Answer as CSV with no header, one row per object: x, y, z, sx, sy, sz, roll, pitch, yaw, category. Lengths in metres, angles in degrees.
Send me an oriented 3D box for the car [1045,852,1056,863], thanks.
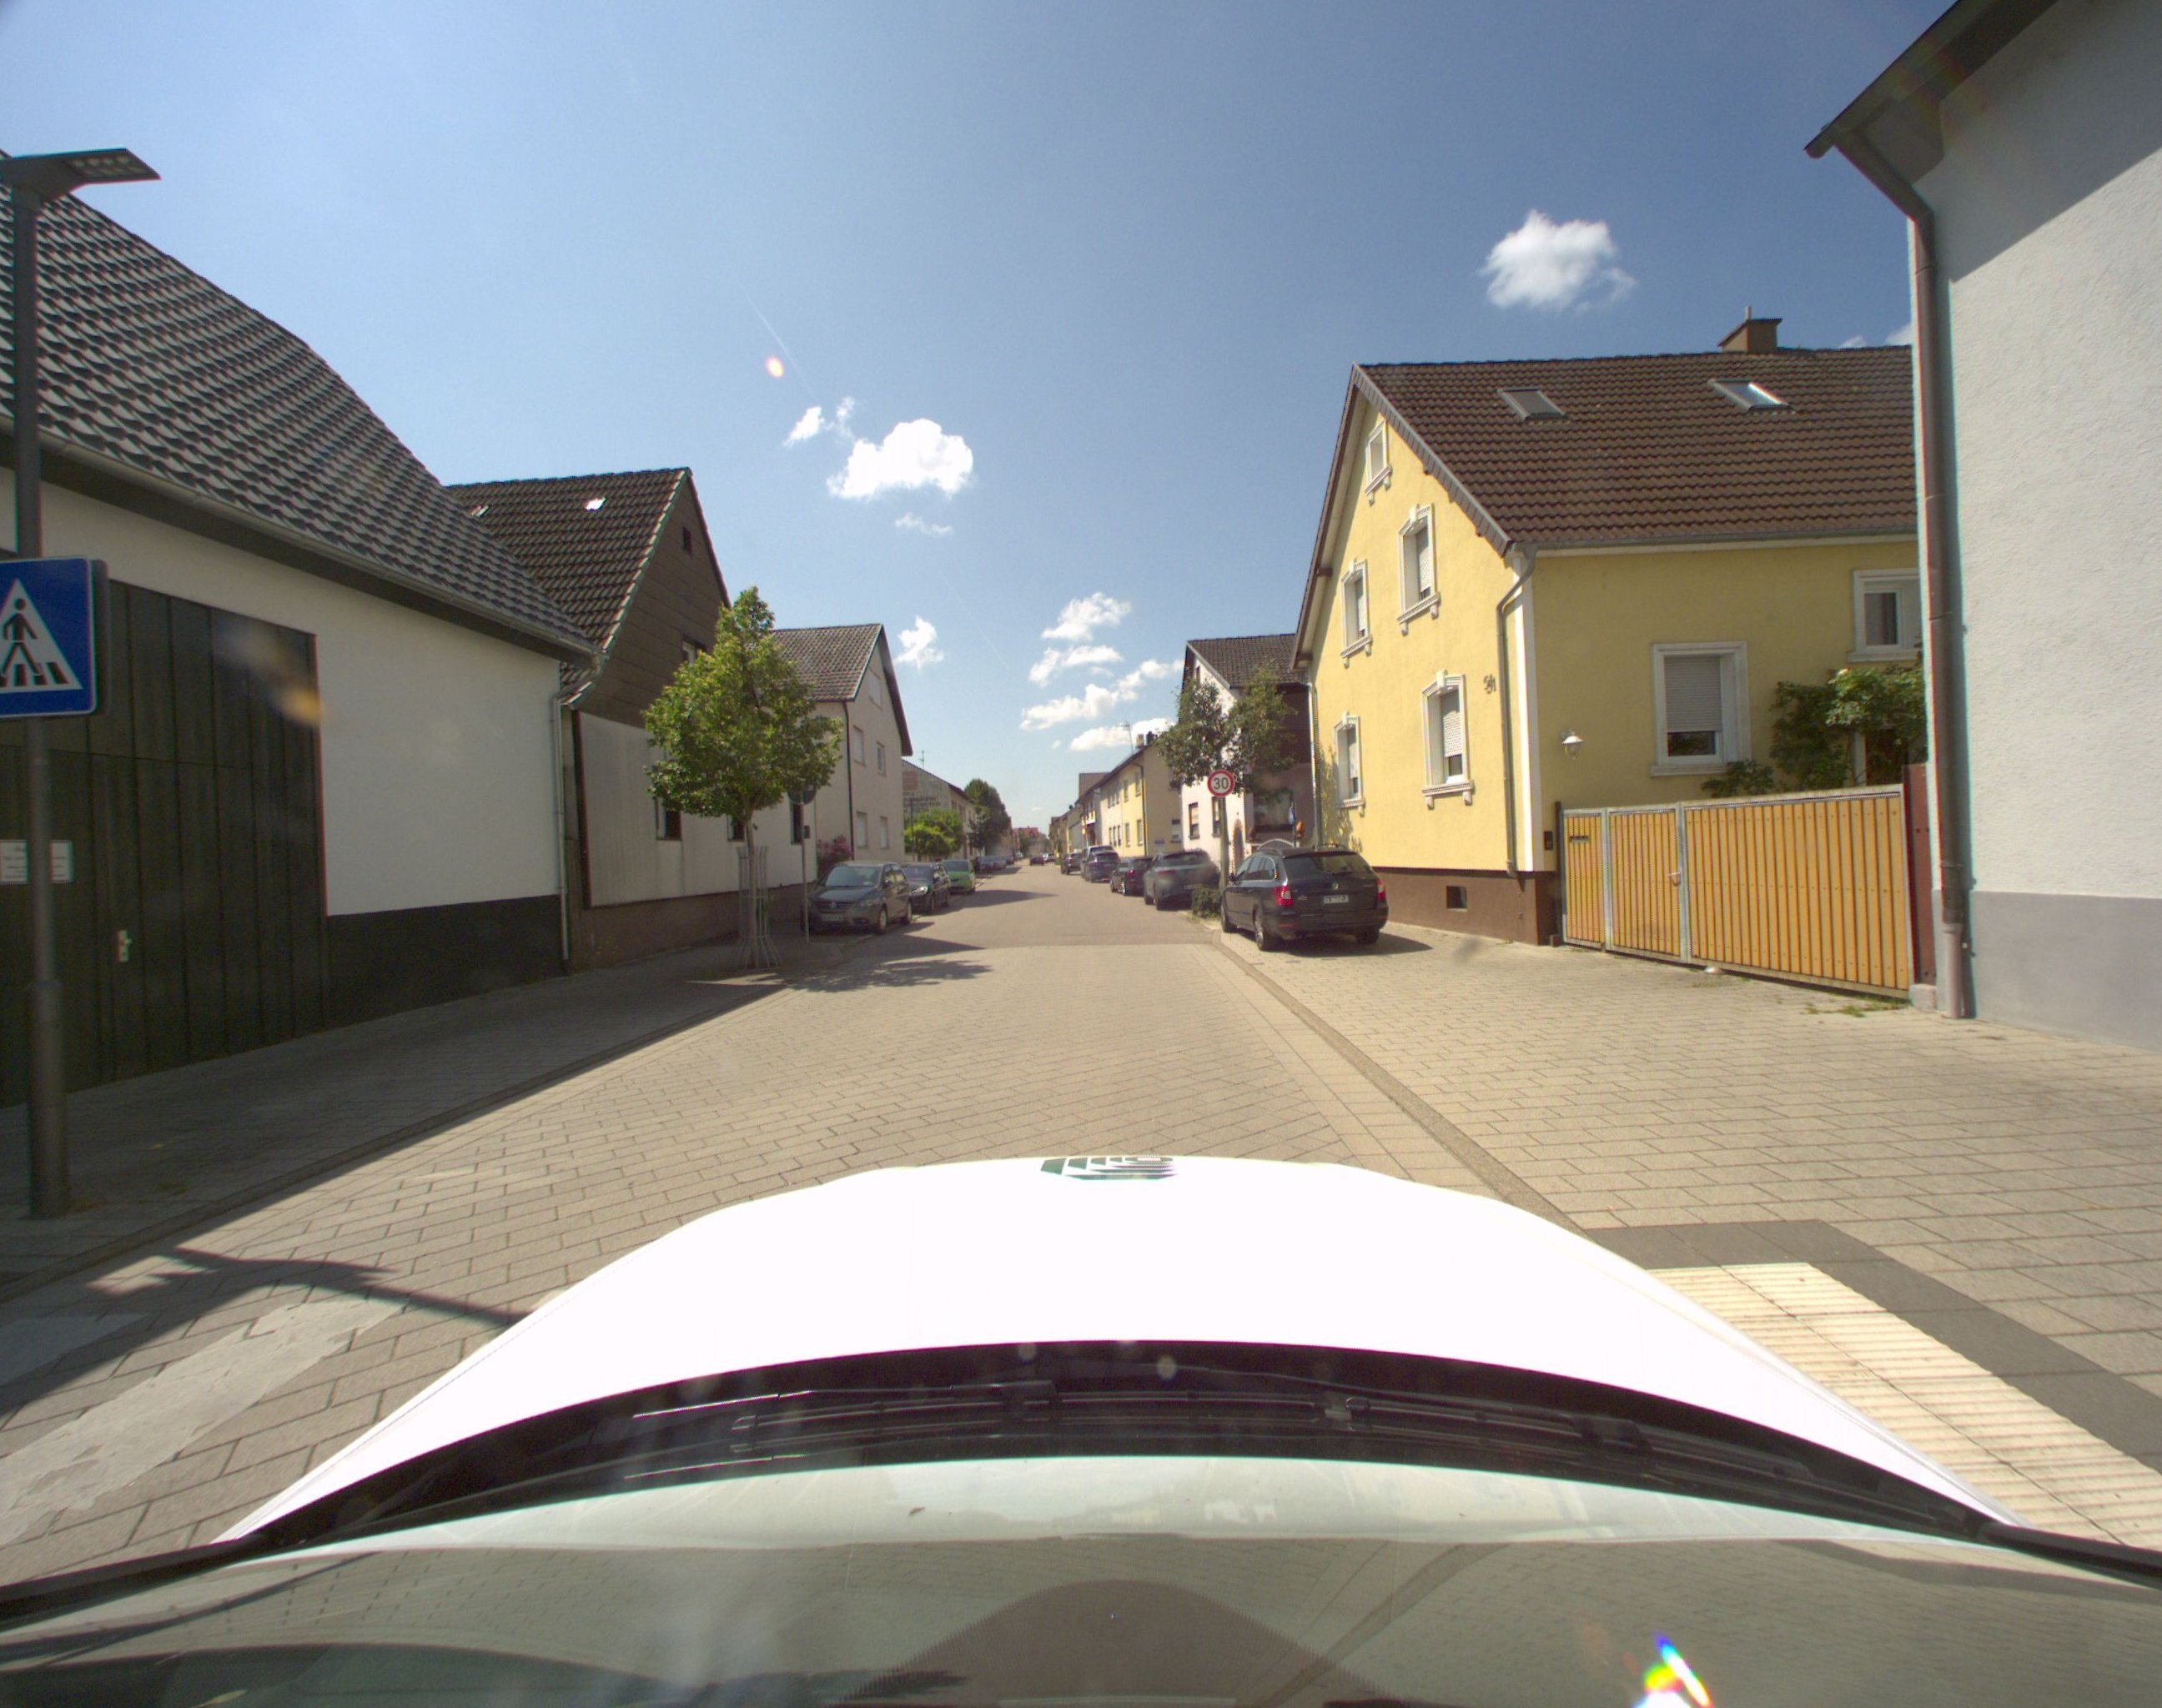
-4.698,0.526,125.237,1.683,1.452,3.790,-2,0,-2,car

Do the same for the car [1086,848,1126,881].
1.327,0.538,44.124,1.872,1.591,3.997,-2,0,-2,car

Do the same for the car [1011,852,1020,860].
-16.318,0.510,203.307,1.842,1.707,3.716,-2,0,-2,car

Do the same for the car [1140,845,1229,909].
2.784,0.571,22.716,1.841,1.562,3.691,-2,0,-2,car

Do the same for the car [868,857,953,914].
-5.140,0.902,25.071,1.745,1.532,4.258,-1,0,-1,car

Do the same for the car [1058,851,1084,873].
-0.736,0.542,58.832,1.749,1.493,3.997,-2,0,-2,car

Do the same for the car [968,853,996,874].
-8.561,0.836,70.737,1.989,1.662,3.996,-2,0,-2,car

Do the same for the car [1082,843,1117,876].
1.084,0.316,49.716,1.902,1.871,3.997,-2,0,-2,car

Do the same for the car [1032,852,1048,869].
-5.361,0.784,106.354,1.989,2.057,4.370,-2,0,-2,car

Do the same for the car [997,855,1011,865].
-11.947,0.874,126.193,1.912,1.442,3.996,-2,0,-2,car

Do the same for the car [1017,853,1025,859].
-17.249,0.489,234.652,1.916,1.667,3.997,-1,0,-2,car

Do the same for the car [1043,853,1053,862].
-5.614,0.514,138.715,1.683,1.452,3.790,-2,0,-2,car

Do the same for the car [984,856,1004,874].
-8.913,1.105,83.337,1.679,1.758,3.612,-2,0,-2,car

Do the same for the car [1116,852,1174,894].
2.320,0.662,30.333,1.706,1.387,3.703,-2,0,-2,car

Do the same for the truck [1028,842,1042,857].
-12.694,-1.137,223.101,3.558,3.953,8.567,-2,0,-5,truck

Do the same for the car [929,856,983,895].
-5.351,0.886,35.337,1.788,1.475,3.867,-2,0,-2,car

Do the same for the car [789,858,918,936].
-5.077,0.888,18.737,1.741,1.530,4.001,-1,0,1,car

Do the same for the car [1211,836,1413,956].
3.447,0.568,13.074,1.824,1.471,4.273,-4,0,-2,car
